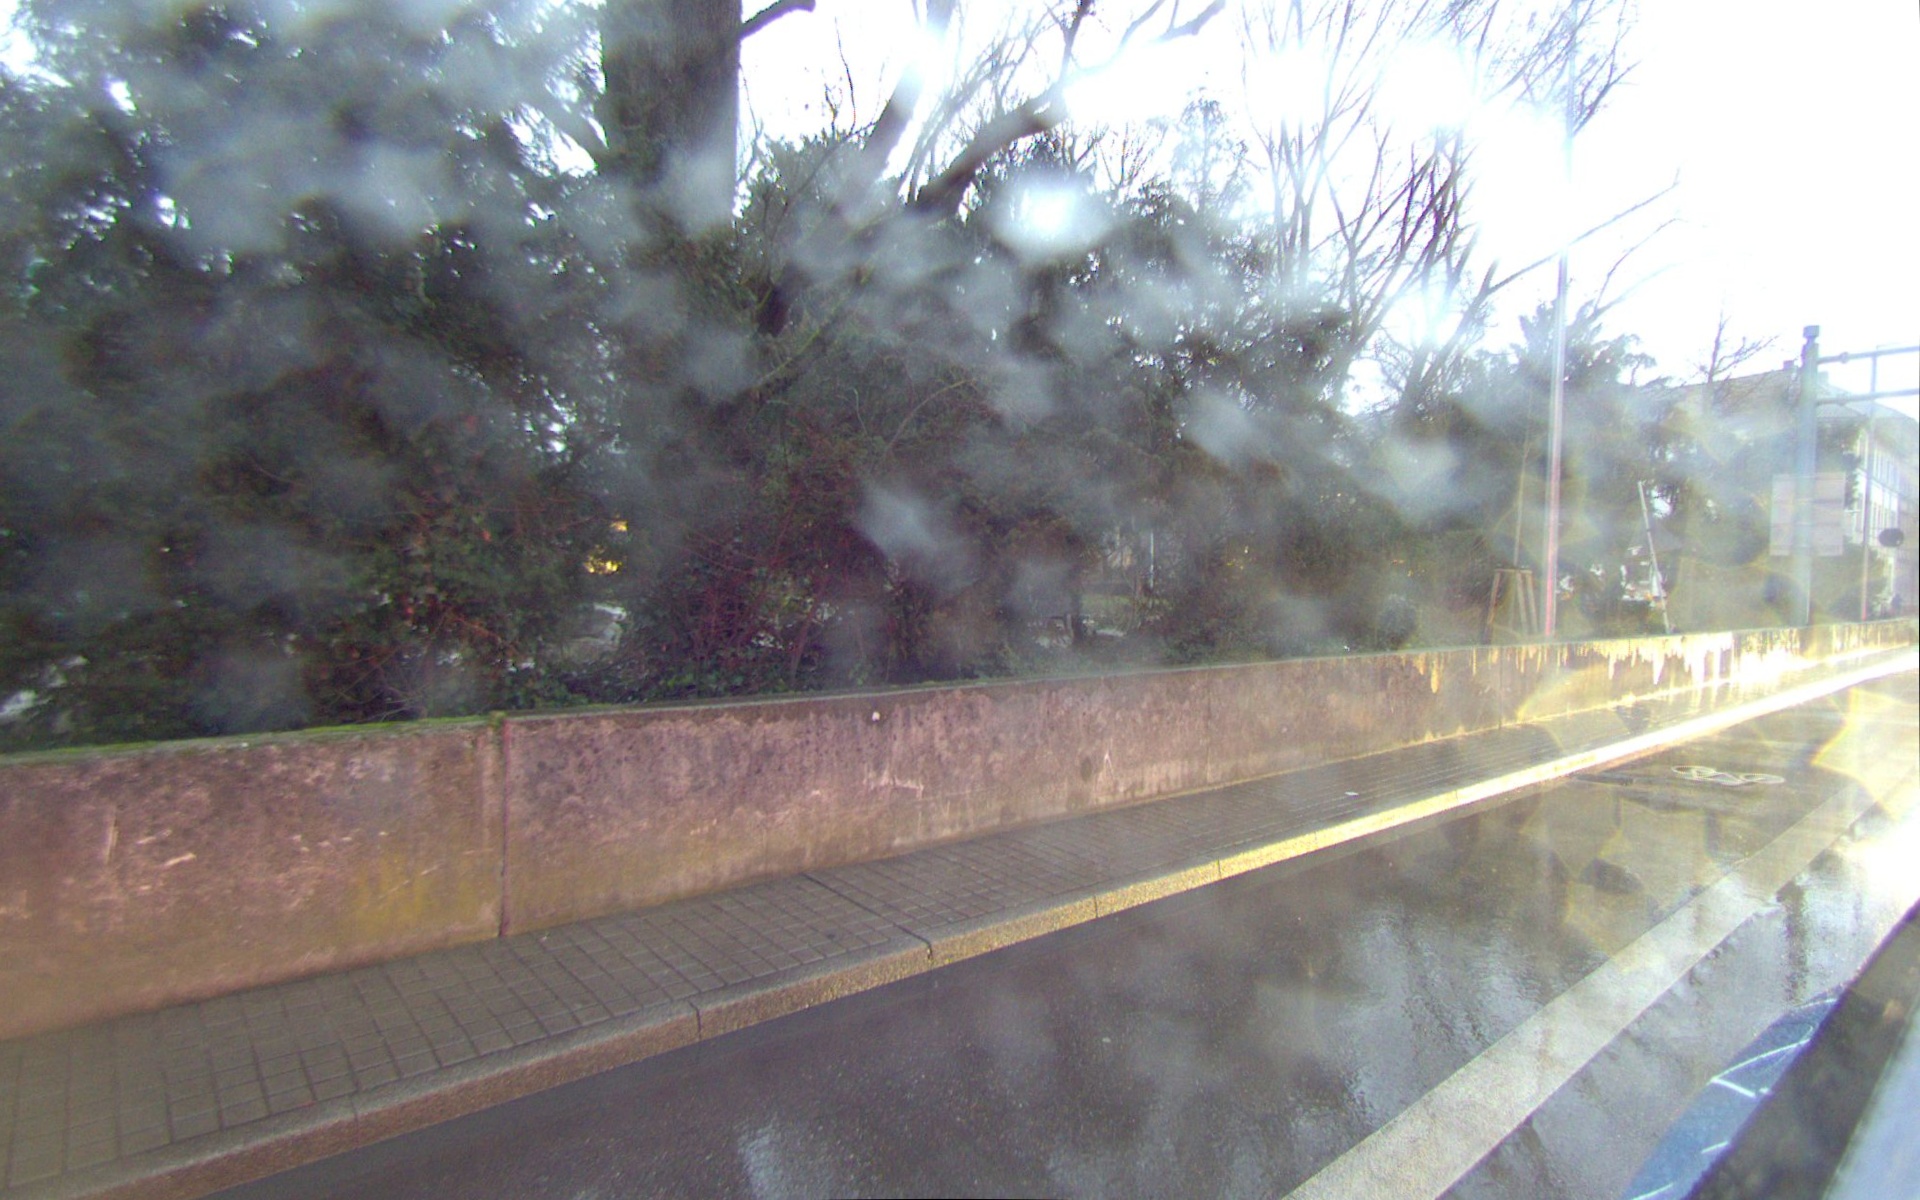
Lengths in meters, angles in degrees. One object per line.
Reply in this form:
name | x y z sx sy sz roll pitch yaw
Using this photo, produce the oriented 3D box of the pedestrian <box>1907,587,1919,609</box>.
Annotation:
pedestrian | 68.147 -0.170 72.339 0.577 1.529 0.520 0 2 -41
